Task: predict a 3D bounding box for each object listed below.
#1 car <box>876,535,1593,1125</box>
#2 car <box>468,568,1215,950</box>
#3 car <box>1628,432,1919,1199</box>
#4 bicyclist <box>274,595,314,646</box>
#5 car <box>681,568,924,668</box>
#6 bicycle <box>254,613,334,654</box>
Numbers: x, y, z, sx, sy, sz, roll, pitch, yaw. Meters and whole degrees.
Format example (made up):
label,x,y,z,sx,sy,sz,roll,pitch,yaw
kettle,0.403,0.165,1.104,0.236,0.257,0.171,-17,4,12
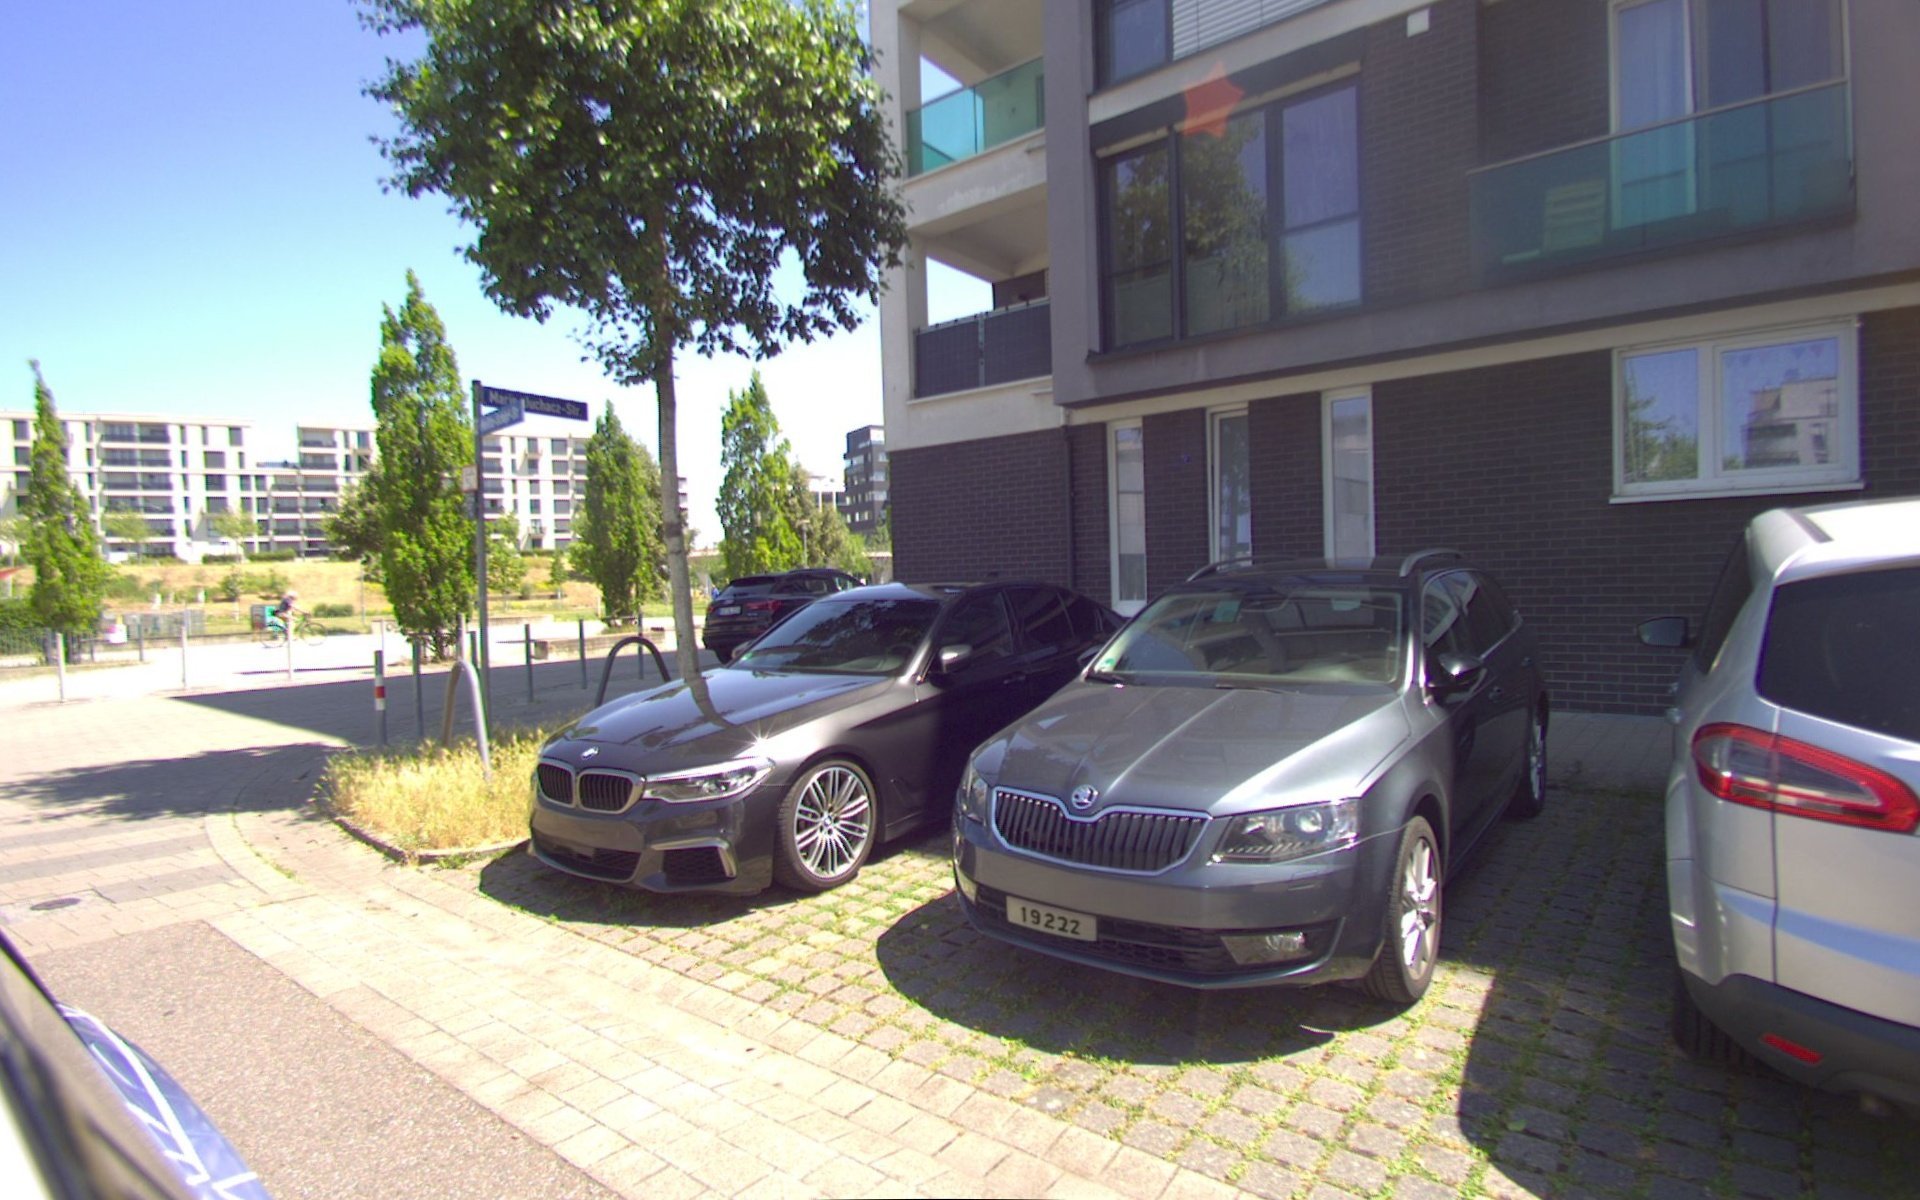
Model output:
label,x,y,z,sx,sy,sz,roll,pitch,yaw
car,1.868,0.485,5.070,1.825,1.460,4.775,-1,3,37
car,-0.246,0.579,6.653,1.924,1.496,5.052,-1,1,37
car,3.792,0.405,3.615,2.039,1.644,4.983,-2,1,37
bicyclist,-20.123,0.618,30.593,0.868,1.466,0.862,-3,1,-26
car,-2.656,0.255,18.062,1.774,1.531,4.347,-3,-1,33
bicycle,-20.104,0.997,30.600,1.882,1.126,0.801,-3,1,-26
